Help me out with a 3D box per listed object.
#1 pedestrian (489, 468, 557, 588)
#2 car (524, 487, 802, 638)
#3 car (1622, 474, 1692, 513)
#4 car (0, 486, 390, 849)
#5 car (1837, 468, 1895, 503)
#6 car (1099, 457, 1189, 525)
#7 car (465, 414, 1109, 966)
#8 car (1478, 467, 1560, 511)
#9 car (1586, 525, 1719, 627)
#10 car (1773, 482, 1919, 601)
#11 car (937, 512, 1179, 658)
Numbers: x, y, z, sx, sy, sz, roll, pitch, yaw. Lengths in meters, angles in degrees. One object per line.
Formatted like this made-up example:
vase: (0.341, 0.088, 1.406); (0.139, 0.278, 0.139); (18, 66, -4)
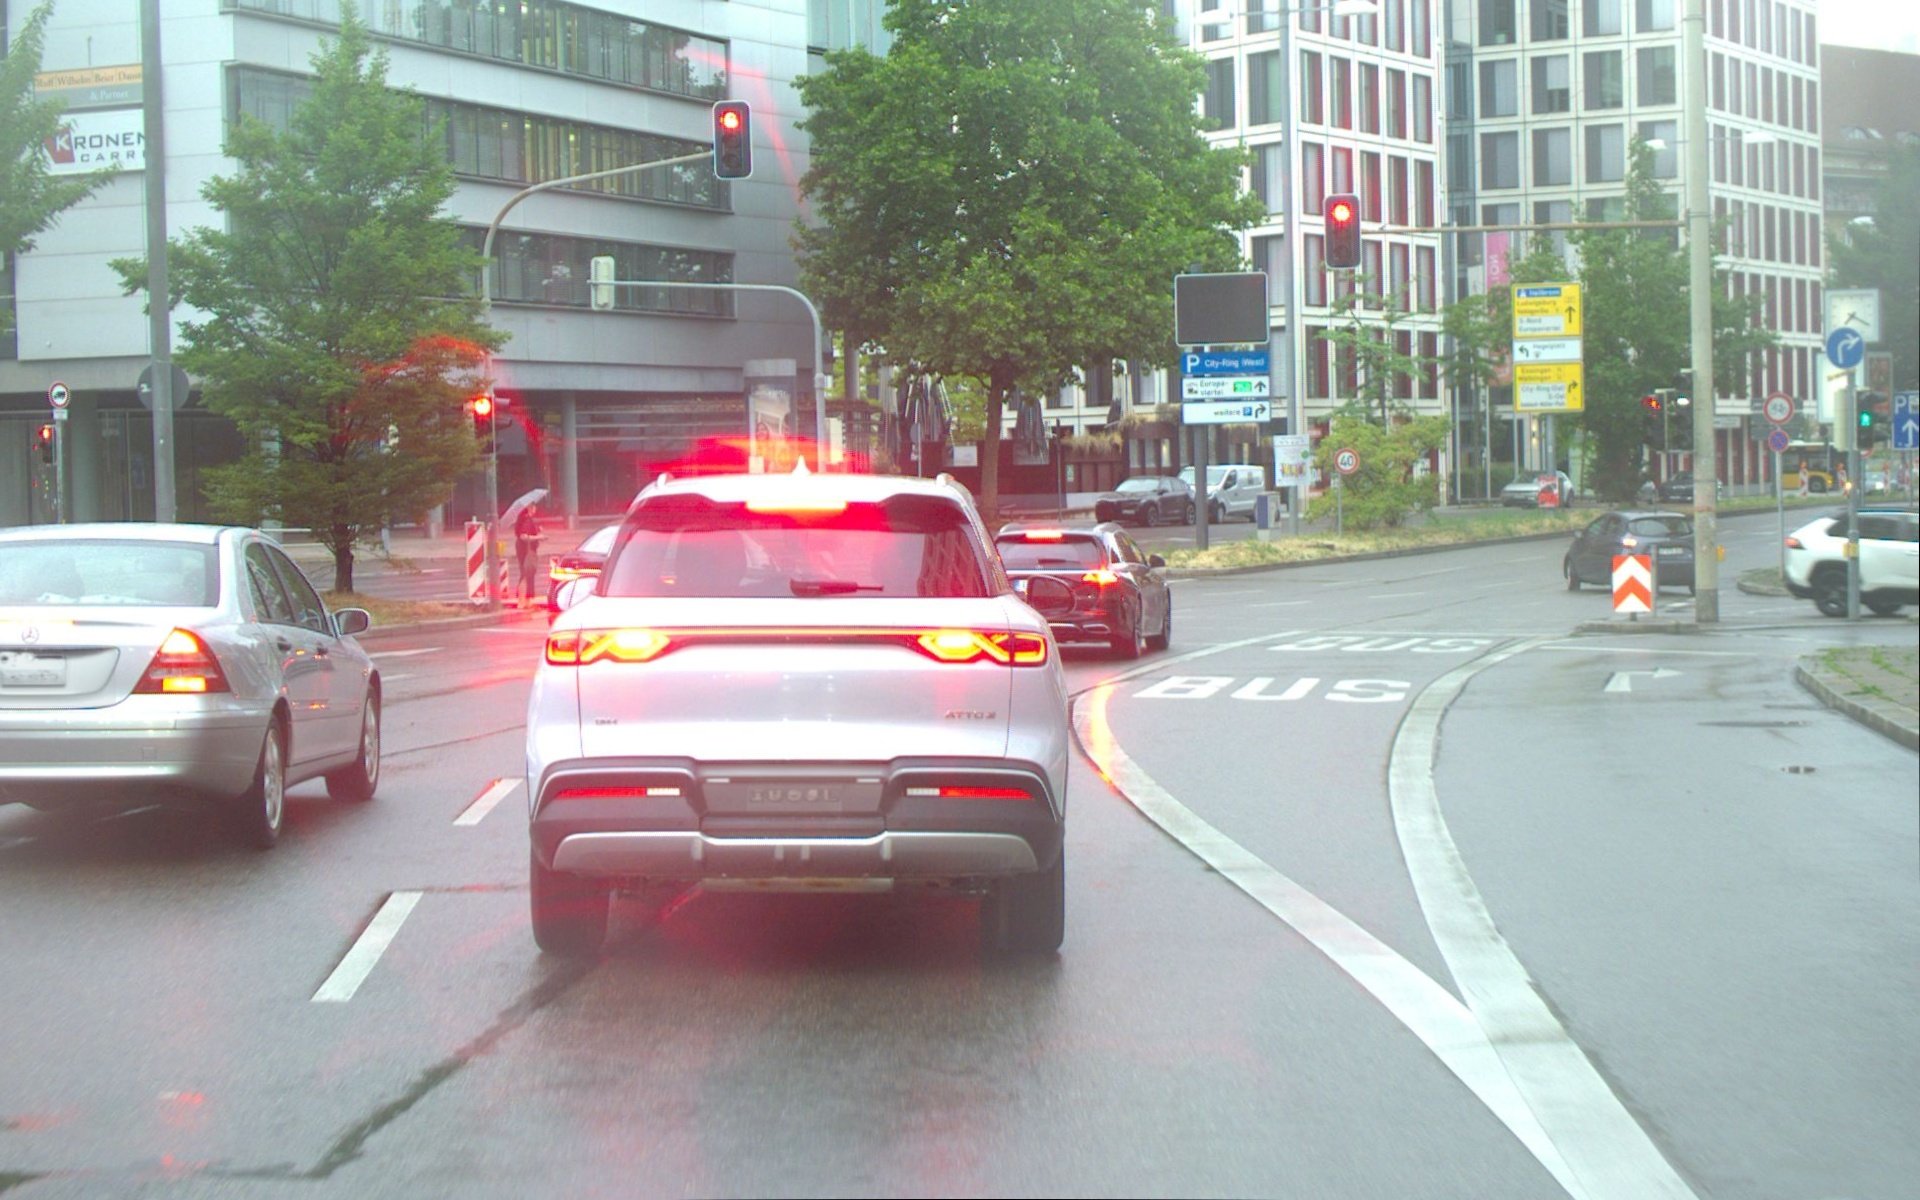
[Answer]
pedestrian: (-6.356, -1.054, 50.001); (0.921, 1.732, 0.730); (0, 1, -3)
car: (-3.105, -0.430, 36.828); (1.956, 1.525, 3.998); (0, 1, 11)
car: (32.361, -4.971, 159.467); (1.997, 1.700, 4.302); (1, 3, 28)
car: (-3.862, 0.222, 16.135); (1.682, 1.481, 4.197); (0, 2, 0)
car: (46.430, -5.853, 176.137); (1.996, 1.700, 3.994); (1, 3, 28)
car: (6.034, -3.547, 112.346); (1.739, 2.154, 4.489); (1, 1, 19)
car: (-0.622, 0.219, 12.948); (1.993, 1.703, 4.483); (0, 2, -2)
car: (22.933, -4.584, 140.966); (1.997, 1.700, 4.302); (1, 3, 28)
car: (12.894, -0.486, 64.242); (2.047, 1.759, 4.356); (1, 2, 7)
car: (14.637, -0.878, 51.199); (4.527, 1.744, 1.995); (2, 2, 42)
car: (1.142, -0.212, 37.942); (1.956, 1.525, 3.998); (0, 1, 12)
